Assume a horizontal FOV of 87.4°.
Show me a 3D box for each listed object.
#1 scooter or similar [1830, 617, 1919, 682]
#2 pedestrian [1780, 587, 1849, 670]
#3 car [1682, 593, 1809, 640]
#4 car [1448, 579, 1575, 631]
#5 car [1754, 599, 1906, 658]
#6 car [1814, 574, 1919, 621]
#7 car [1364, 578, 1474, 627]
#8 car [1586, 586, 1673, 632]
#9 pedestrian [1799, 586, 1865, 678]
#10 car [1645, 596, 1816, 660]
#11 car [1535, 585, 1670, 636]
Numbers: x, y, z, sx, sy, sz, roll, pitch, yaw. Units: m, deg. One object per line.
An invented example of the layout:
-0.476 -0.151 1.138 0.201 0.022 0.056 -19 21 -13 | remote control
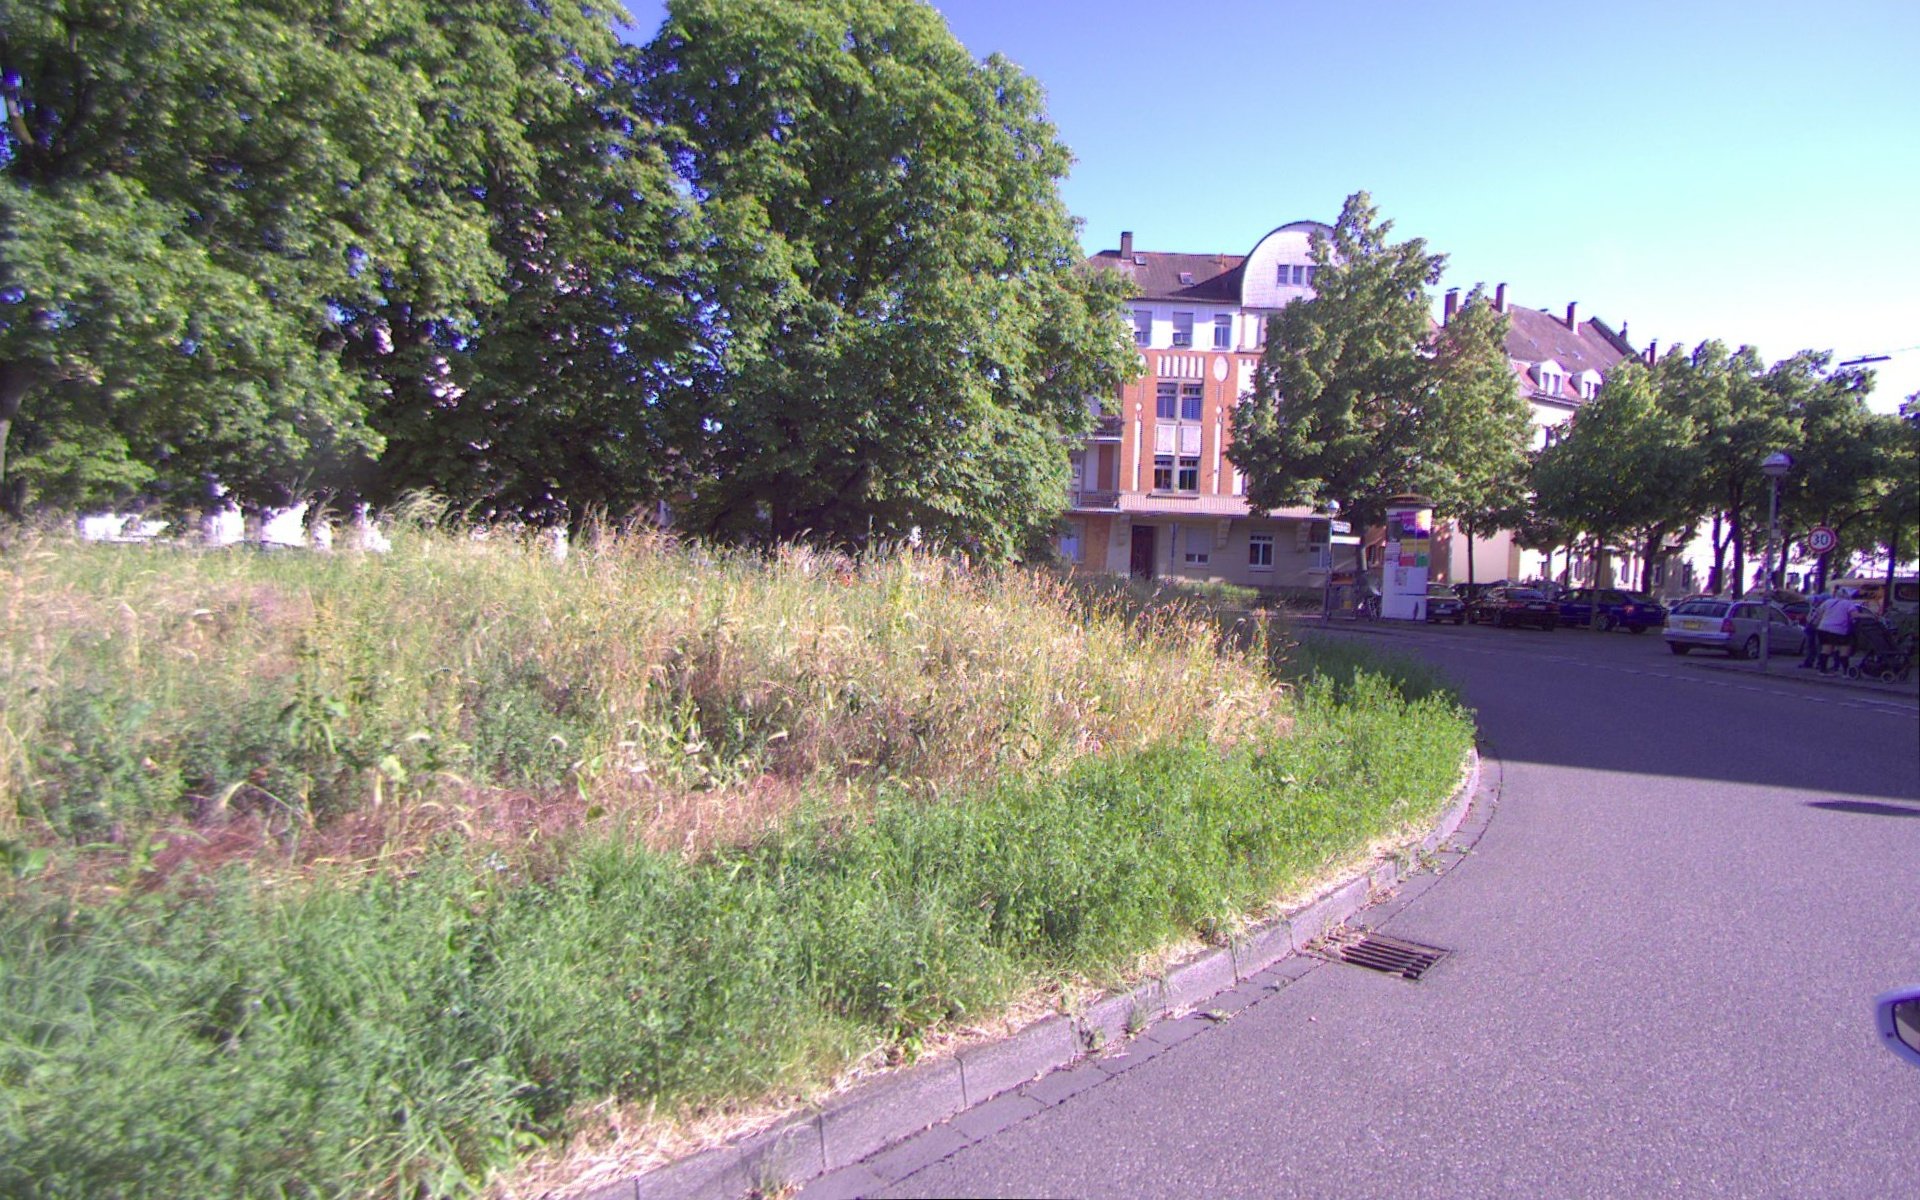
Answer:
15.315 0.813 16.695 0.882 1.037 0.916 1 0 -8 | scooter or similar
16.275 0.522 19.138 0.689 1.544 0.819 1 0 -31 | pedestrian
31.666 0.619 40.615 1.706 1.659 3.669 2 1 -19 | car
18.644 0.133 34.127 1.703 1.567 3.674 2 1 -14 | car
24.002 0.795 27.680 4.334 1.458 1.722 2 2 -29 | car
42.940 -0.136 47.259 2.129 2.014 4.201 3 1 7 | car
16.372 0.045 36.024 1.702 1.567 3.677 2 1 -11 | car
28.886 0.357 43.486 1.697 1.825 4.002 3 1 12 | car
15.115 0.541 17.416 0.689 1.544 0.645 1 0 -28 | pedestrian
19.316 0.695 25.153 4.434 1.430 1.719 2 2 -29 | car
22.294 0.322 35.010 1.706 1.567 3.669 2 1 -19 | car
